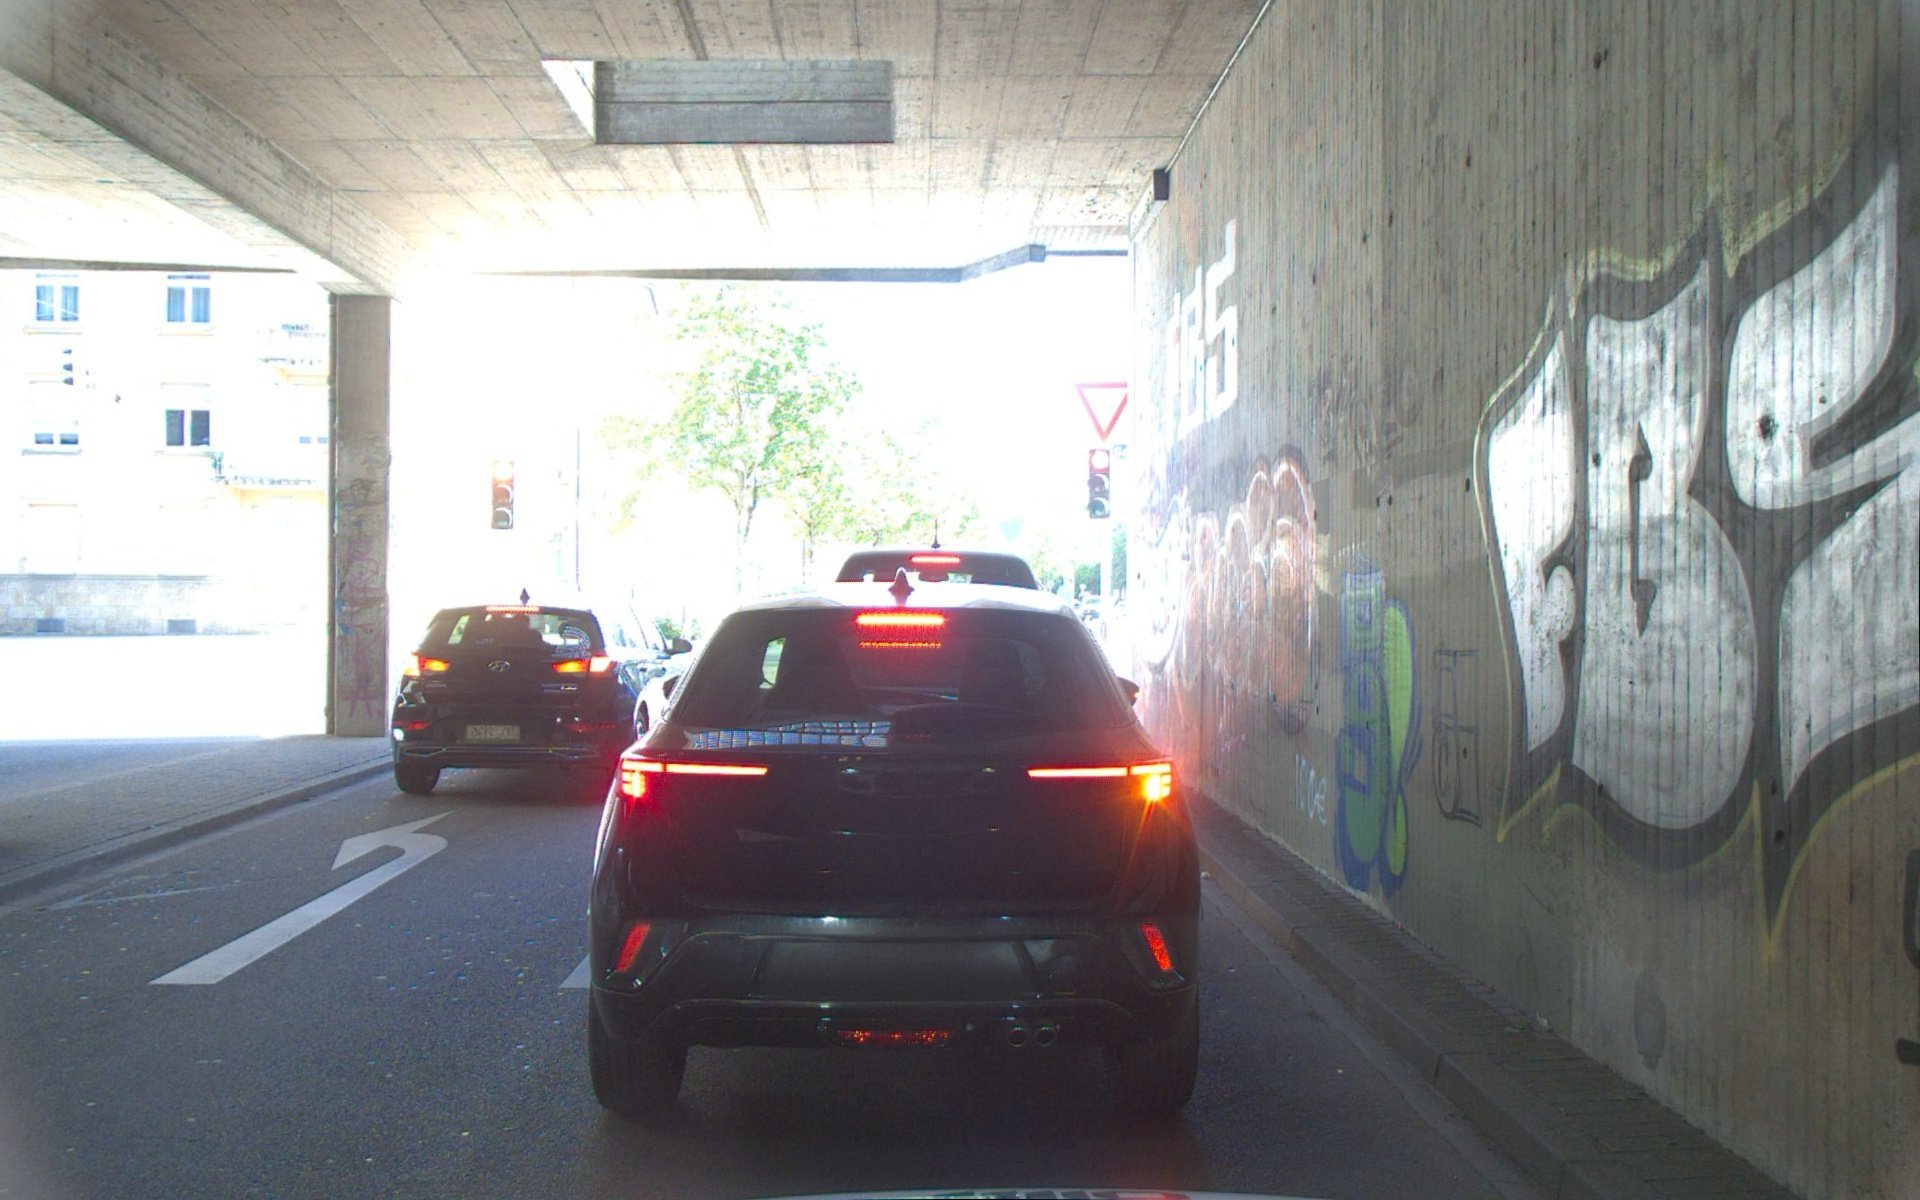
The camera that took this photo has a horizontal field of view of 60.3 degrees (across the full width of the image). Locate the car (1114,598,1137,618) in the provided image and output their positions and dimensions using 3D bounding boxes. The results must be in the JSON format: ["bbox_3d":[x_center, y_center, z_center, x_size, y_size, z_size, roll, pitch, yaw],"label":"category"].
[{"bbox_3d":[14.526,0.728,145.047,1.716,1.696,3.948,1,0,10],"label":"car"}]

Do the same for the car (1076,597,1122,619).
[{"bbox_3d":[11.538,0.665,136.783,1.785,1.696,4.803,1,0,32],"label":"car"}]

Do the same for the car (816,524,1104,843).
[{"bbox_3d":[-0.030,0.497,12.036,1.726,1.915,4.145,0,0,-1],"label":"car"}]

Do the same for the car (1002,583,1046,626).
[{"bbox_3d":[2.672,0.206,68.356,1.717,1.696,3.946,1,0,3],"label":"car"}]

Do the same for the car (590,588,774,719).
[{"bbox_3d":[-3.417,0.614,20.954,1.726,1.506,3.843,0,0,-1],"label":"car"}]

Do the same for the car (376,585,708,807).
[{"bbox_3d":[-3.147,0.653,13.234,1.726,1.506,3.843,0,0,-1],"label":"car"}]

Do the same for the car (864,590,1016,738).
[{"bbox_3d":[-0.236,0.664,19.250,1.576,1.539,4.053,0,0,-1],"label":"car"}]

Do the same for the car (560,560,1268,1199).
[{"bbox_3d":[-0.137,0.680,6.091,1.726,1.558,4.088,0,0,-1],"label":"car"}]

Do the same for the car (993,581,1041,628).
[{"bbox_3d":[2.182,0.173,62.230,1.717,1.696,3.946,1,0,3],"label":"car"}]
